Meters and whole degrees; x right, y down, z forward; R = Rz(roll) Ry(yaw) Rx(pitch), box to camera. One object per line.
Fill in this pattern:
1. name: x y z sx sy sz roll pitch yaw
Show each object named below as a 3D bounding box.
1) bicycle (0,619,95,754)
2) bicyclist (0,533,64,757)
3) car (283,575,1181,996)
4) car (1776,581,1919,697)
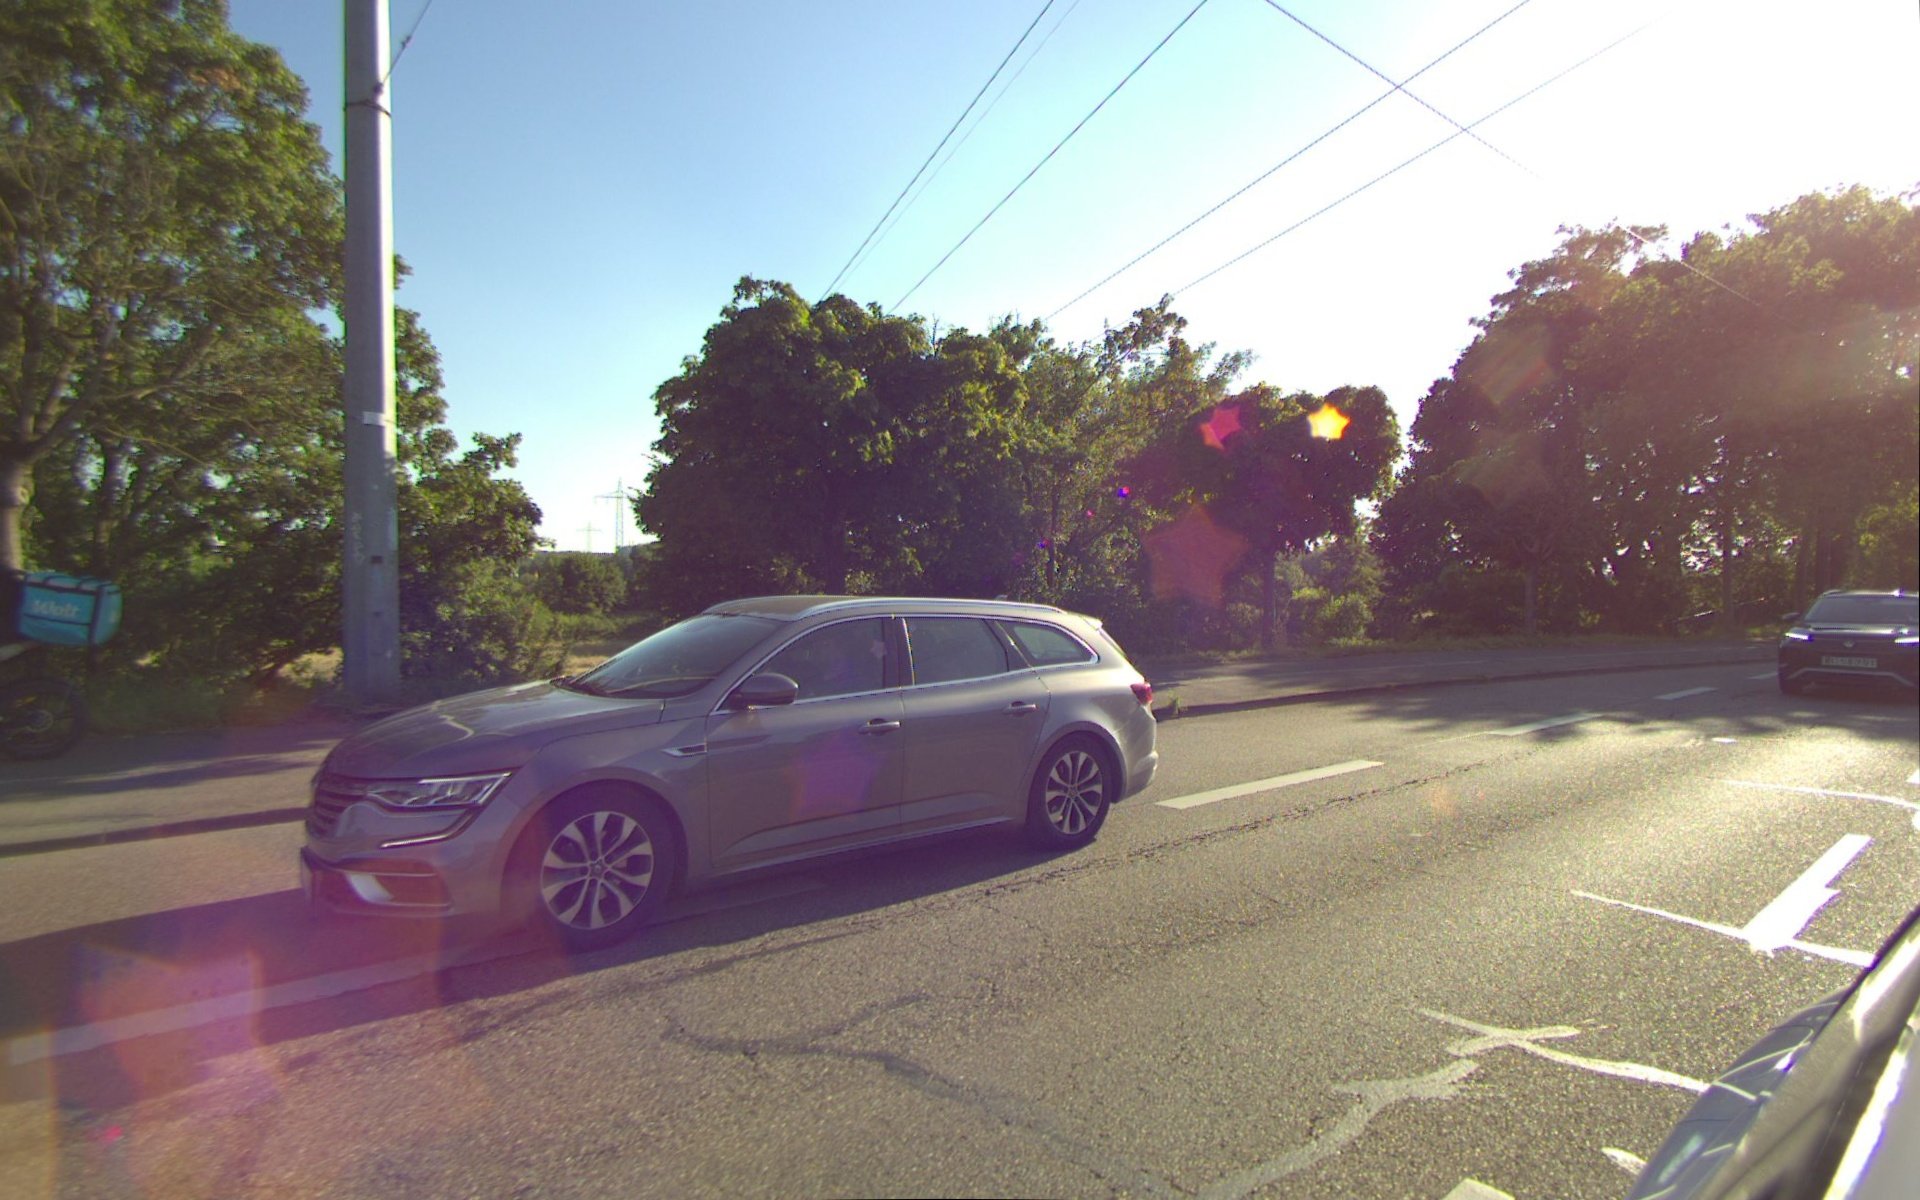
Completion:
1. bicycle: -6.925 0.598 6.857 1.606 0.844 0.628 -1 5 -41
2. bicyclist: -6.831 0.293 6.903 1.042 1.488 0.628 -1 5 -40
3. car: -0.972 0.596 5.680 4.576 1.461 1.881 -1 1 -39
4. car: 14.693 0.514 16.078 4.338 1.620 1.880 -1 1 -40
